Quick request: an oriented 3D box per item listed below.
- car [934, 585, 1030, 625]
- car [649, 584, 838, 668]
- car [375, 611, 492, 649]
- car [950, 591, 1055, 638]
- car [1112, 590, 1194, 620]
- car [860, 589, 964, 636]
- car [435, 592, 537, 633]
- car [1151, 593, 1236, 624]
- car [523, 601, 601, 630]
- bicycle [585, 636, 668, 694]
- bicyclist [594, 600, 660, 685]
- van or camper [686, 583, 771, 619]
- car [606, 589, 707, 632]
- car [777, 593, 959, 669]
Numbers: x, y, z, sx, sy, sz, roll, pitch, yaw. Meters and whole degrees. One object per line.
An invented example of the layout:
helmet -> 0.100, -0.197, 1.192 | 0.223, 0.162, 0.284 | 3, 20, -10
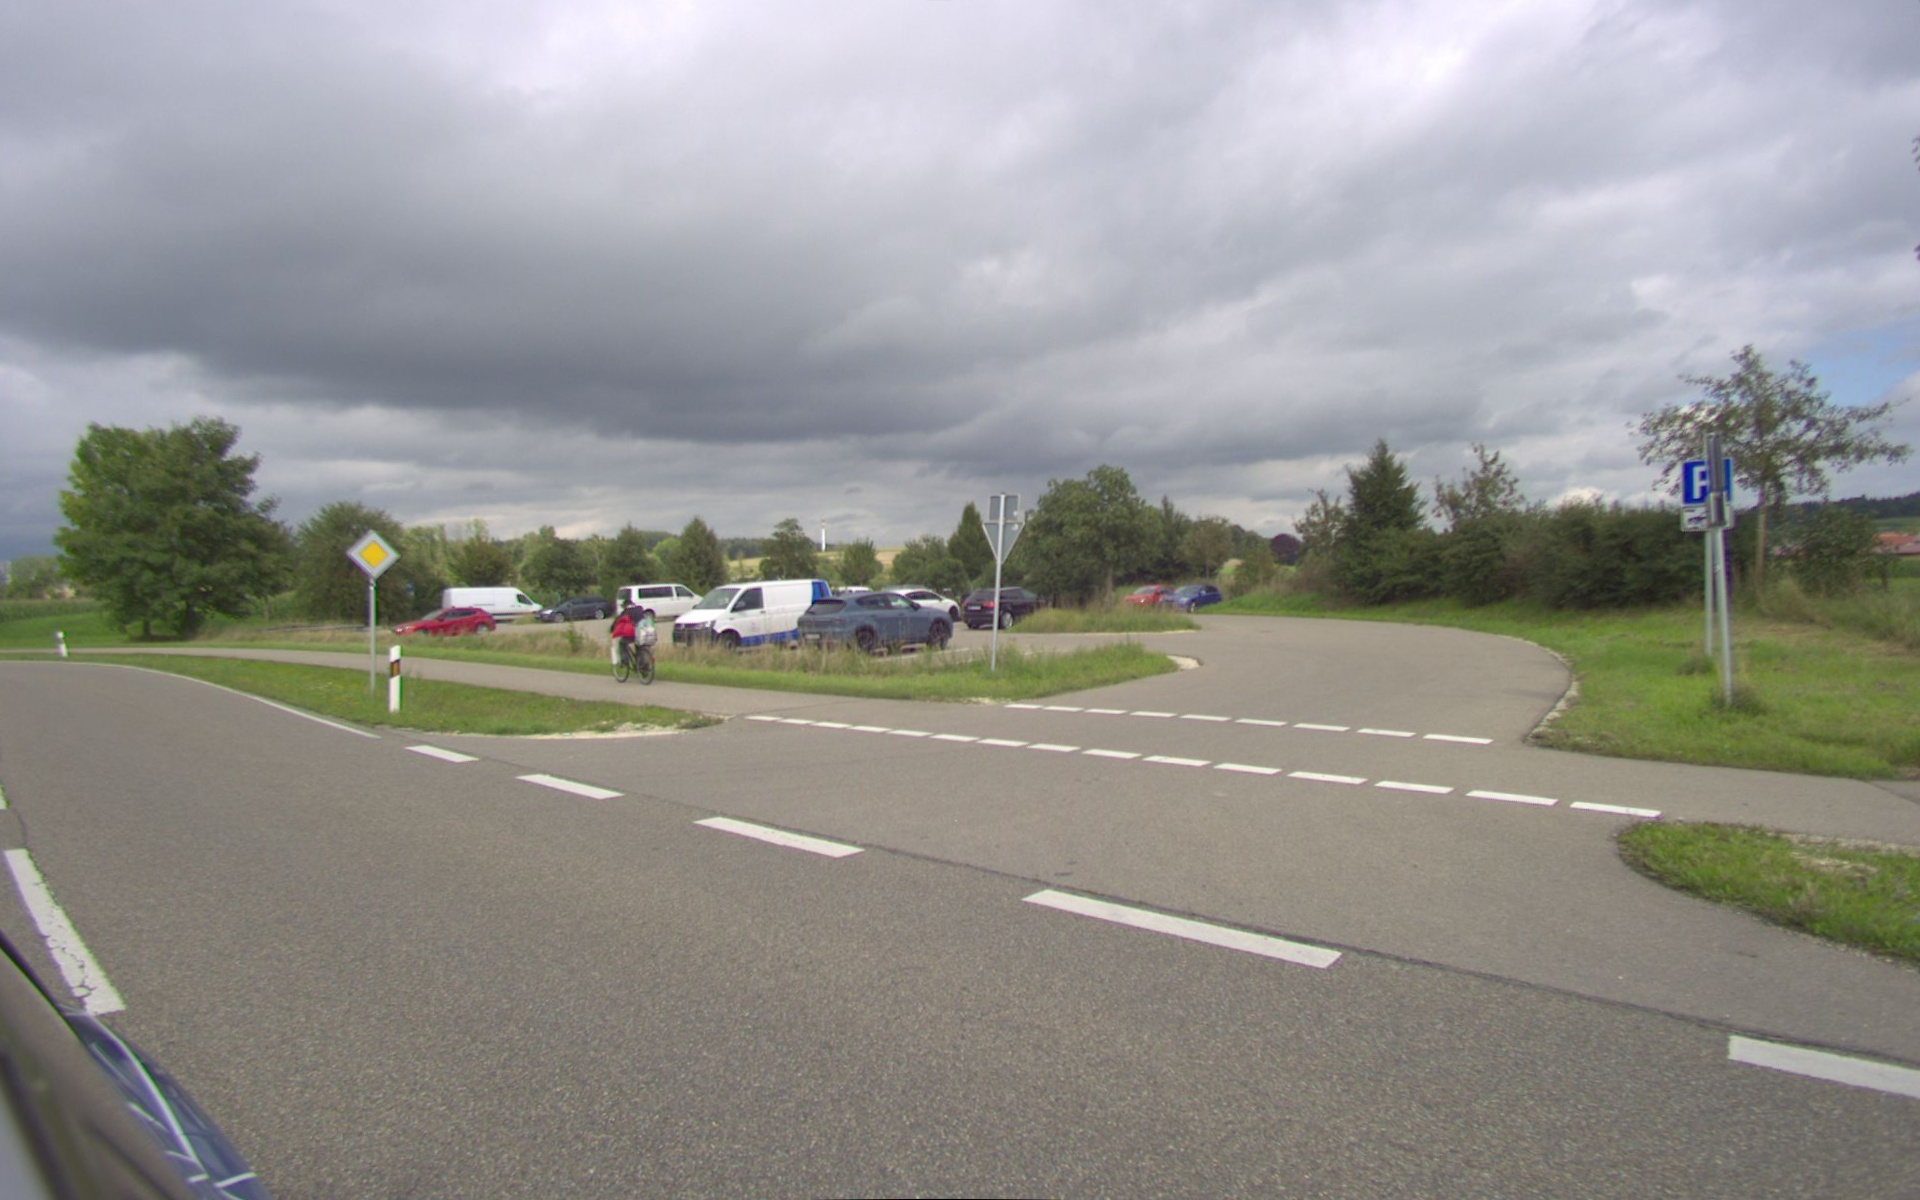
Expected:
car -> 0.936, 0.209, 43.919 | 3.730, 1.537, 1.782 | -3, 1, -15
car -> -5.952, 0.655, 28.335 | 2.056, 2.029, 4.841 | -2, 1, 42
car -> -23.799, 1.329, 45.852 | 1.814, 1.427, 4.316 | -2, 1, 43
car -> 1.572, 0.503, 36.200 | 1.839, 1.397, 3.952 | -2, 2, 36
car -> 9.809, 0.229, 51.356 | 3.932, 1.398, 1.743 | -2, 0, -32
car -> -1.817, 0.464, 39.553 | 1.962, 1.563, 3.952 | -2, 2, 36
car -> -34.160, 0.866, 73.141 | 2.201, 2.639, 6.245 | -2, 1, 44
car -> 11.422, 0.414, 49.393 | 3.932, 1.398, 1.743 | -2, 0, -32
car -> -23.804, 0.917, 60.592 | 1.793, 1.536, 3.945 | -2, 1, 42
bicycle -> -6.600, 1.256, 19.972 | 0.628, 1.040, 2.192 | -2, 0, -44
bicyclist -> -6.549, 0.821, 19.863 | 0.821, 1.577, 1.056 | -2, 0, -42
van or camper -> -17.697, 0.058, 77.725 | 5.961, 2.364, 2.288 | -5, 2, -44
car -> -16.050, 0.546, 53.659 | 2.061, 1.940, 4.632 | -2, 2, 42
car -> -2.217, 0.722, 25.196 | 2.000, 1.607, 4.201 | -2, 1, 44
